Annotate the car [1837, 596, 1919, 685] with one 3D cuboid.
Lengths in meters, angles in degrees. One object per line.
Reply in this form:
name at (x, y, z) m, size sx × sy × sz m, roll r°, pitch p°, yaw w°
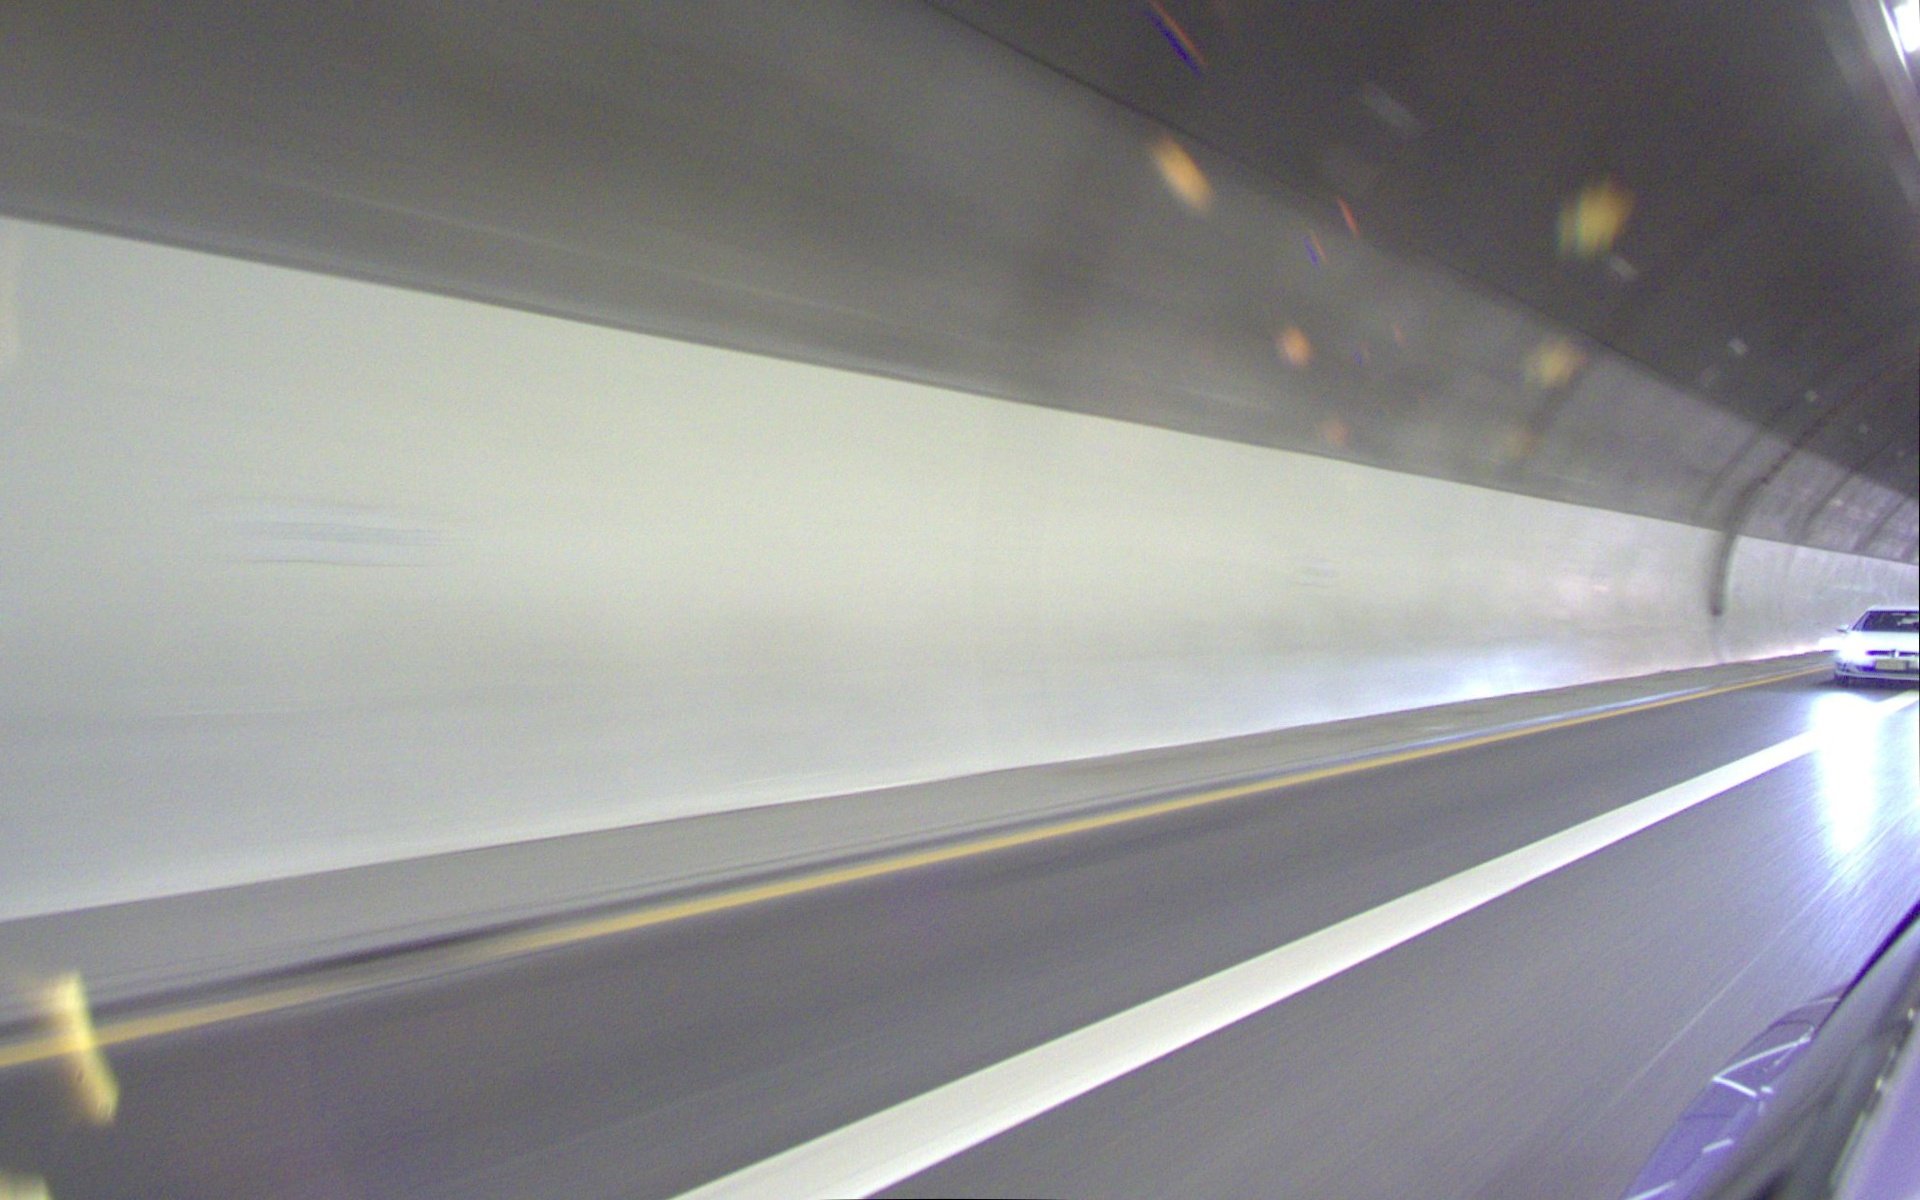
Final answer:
car at (17.406, 0.671, 18.252) m, size 3.963 × 1.479 × 1.801 m, roll 0°, pitch 0°, yaw -40°
